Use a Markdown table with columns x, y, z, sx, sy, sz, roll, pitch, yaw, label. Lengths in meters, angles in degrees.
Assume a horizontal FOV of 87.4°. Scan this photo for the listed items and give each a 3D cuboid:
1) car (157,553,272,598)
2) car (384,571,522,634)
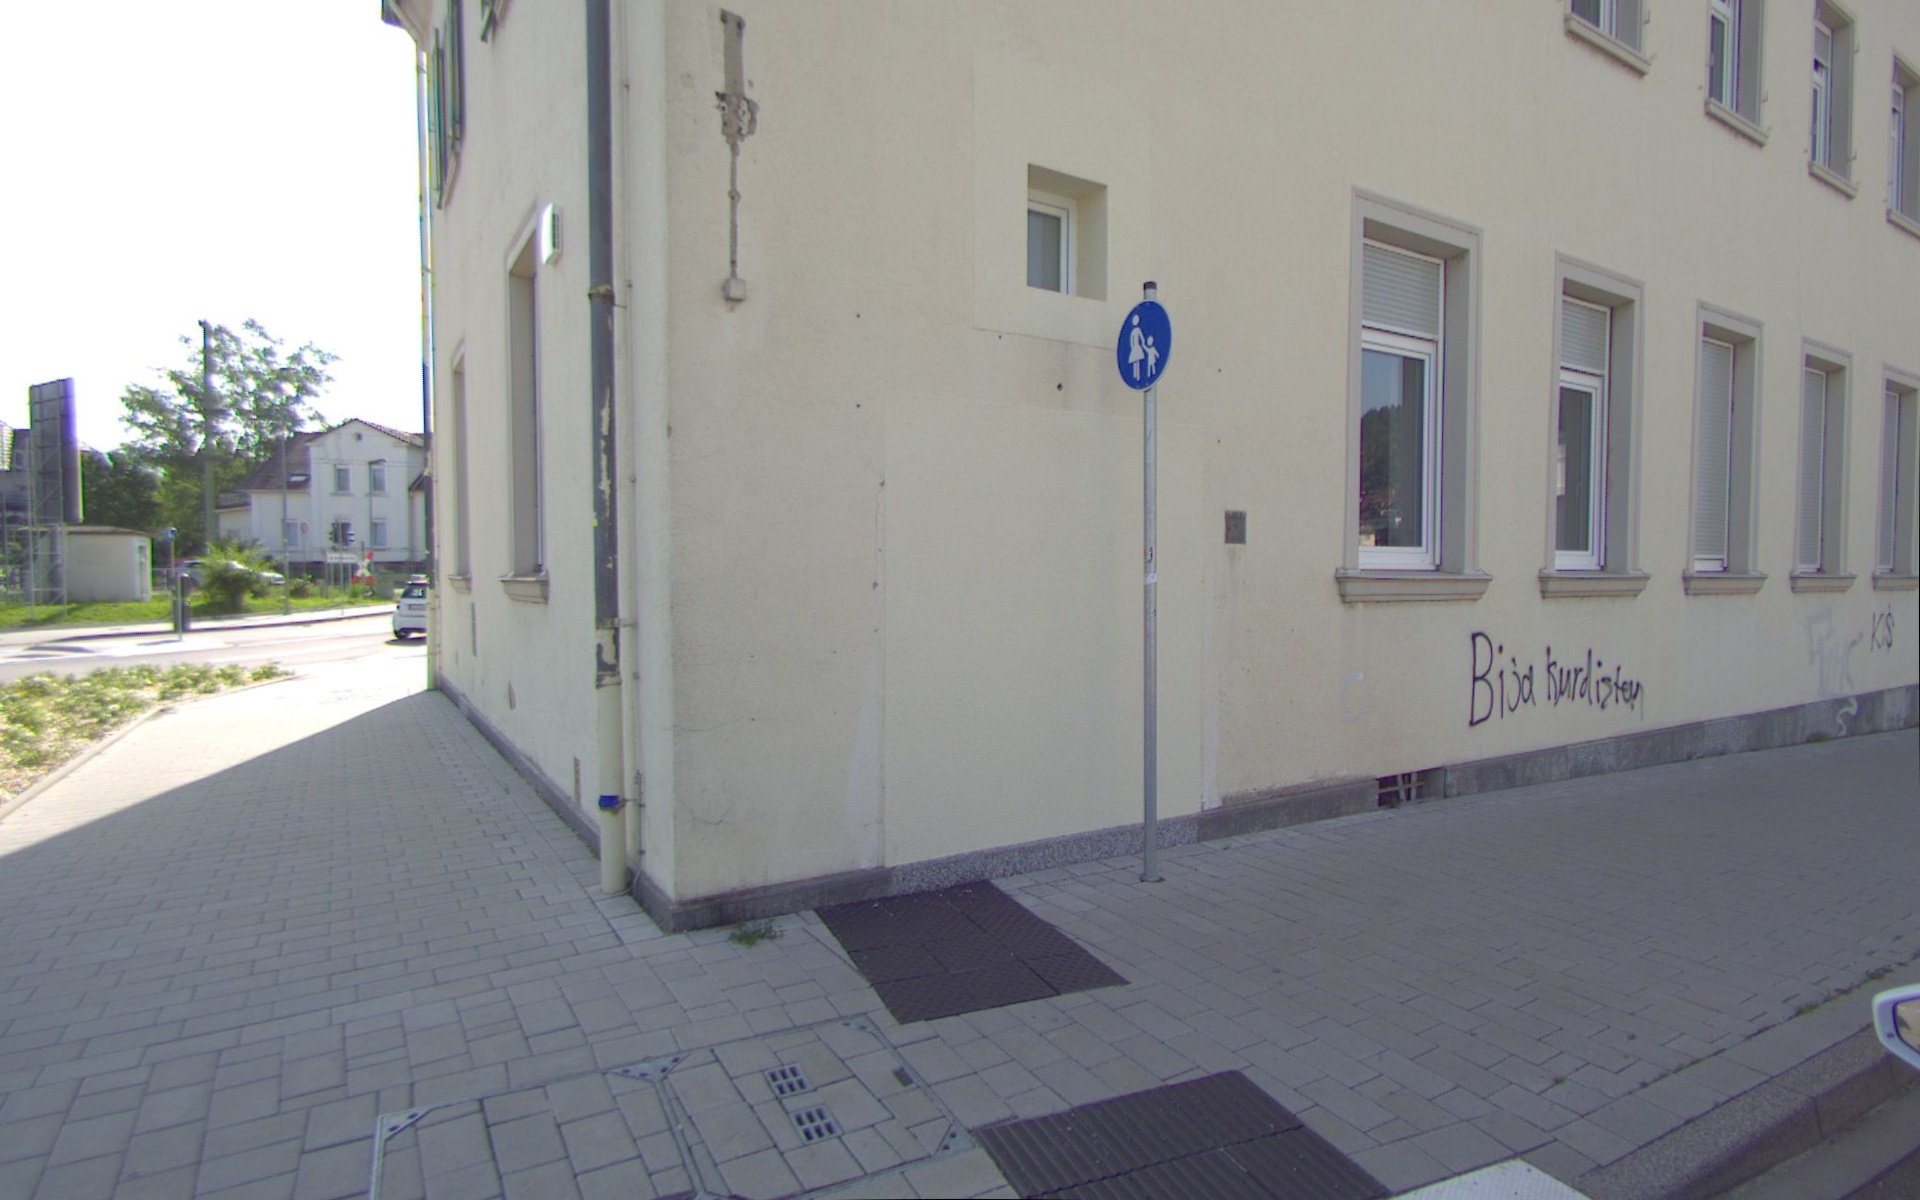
| x | y | z | sx | sy | sz | roll | pitch | yaw | label |
| --- | --- | --- | --- | --- | --- | --- | --- | --- | --- |
| -34.049 | -1.169 | 45.998 | 3.953 | 1.941 | 1.878 | -2 | 5 | -31 | car |
| -13.973 | 0.004 | 27.971 | 1.680 | 1.417 | 3.999 | 1 | 4 | 2 | car |
